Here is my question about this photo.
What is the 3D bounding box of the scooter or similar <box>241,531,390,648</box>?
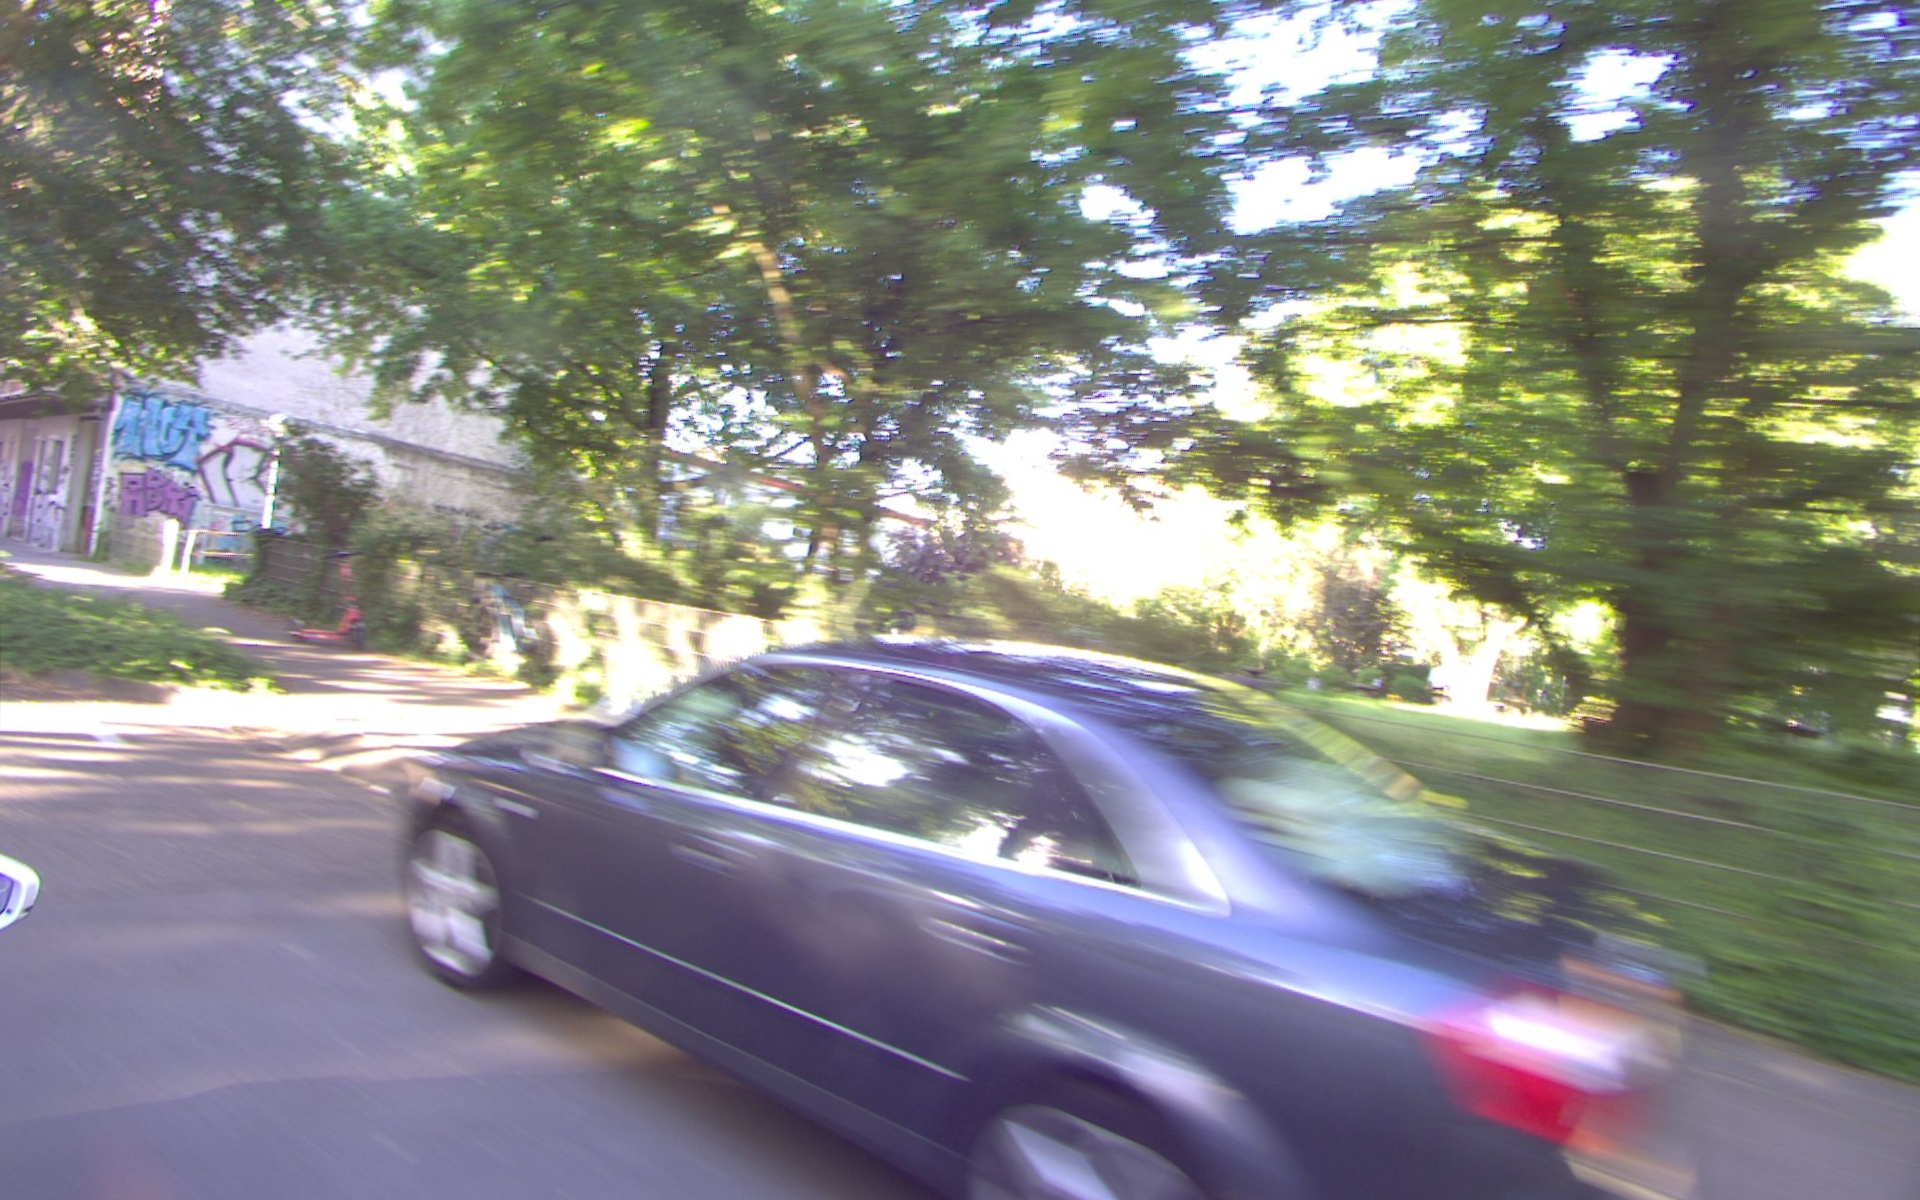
[{"bbox_3d":[-8.010,-0.127,12.519,1.445,1.278,0.546,7,1,7],"label":"scooter or similar"}]

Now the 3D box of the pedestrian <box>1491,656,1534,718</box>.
[{"bbox_3d":[19.683,3.092,35.855,0.736,2.038,0.911,7,0,-5],"label":"pedestrian"}]

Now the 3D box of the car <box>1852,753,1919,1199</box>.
[{"bbox_3d":[3.394,1.232,0.473,4.289,1.511,1.659,7,-1,39],"label":"car"}]

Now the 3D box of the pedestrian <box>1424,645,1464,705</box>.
[{"bbox_3d":[17.622,2.729,36.643,0.736,2.038,0.911,7,0,-5],"label":"pedestrian"}]

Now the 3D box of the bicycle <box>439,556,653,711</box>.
[{"bbox_3d":[-4.428,0.314,10.627,2.653,1.283,0.846,7,0,40],"label":"bicycle"}]

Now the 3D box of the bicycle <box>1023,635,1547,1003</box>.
[{"bbox_3d":[1.701,0.997,5.493,2.294,1.318,1.288,7,1,41],"label":"bicycle"}]

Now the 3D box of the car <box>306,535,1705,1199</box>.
[{"bbox_3d":[-0.277,0.756,3.443,4.344,1.512,1.721,7,0,35],"label":"car"}]

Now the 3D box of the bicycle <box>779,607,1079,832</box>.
[{"bbox_3d":[-0.269,0.786,7.188,1.953,1.215,0.846,7,0,40],"label":"bicycle"}]
